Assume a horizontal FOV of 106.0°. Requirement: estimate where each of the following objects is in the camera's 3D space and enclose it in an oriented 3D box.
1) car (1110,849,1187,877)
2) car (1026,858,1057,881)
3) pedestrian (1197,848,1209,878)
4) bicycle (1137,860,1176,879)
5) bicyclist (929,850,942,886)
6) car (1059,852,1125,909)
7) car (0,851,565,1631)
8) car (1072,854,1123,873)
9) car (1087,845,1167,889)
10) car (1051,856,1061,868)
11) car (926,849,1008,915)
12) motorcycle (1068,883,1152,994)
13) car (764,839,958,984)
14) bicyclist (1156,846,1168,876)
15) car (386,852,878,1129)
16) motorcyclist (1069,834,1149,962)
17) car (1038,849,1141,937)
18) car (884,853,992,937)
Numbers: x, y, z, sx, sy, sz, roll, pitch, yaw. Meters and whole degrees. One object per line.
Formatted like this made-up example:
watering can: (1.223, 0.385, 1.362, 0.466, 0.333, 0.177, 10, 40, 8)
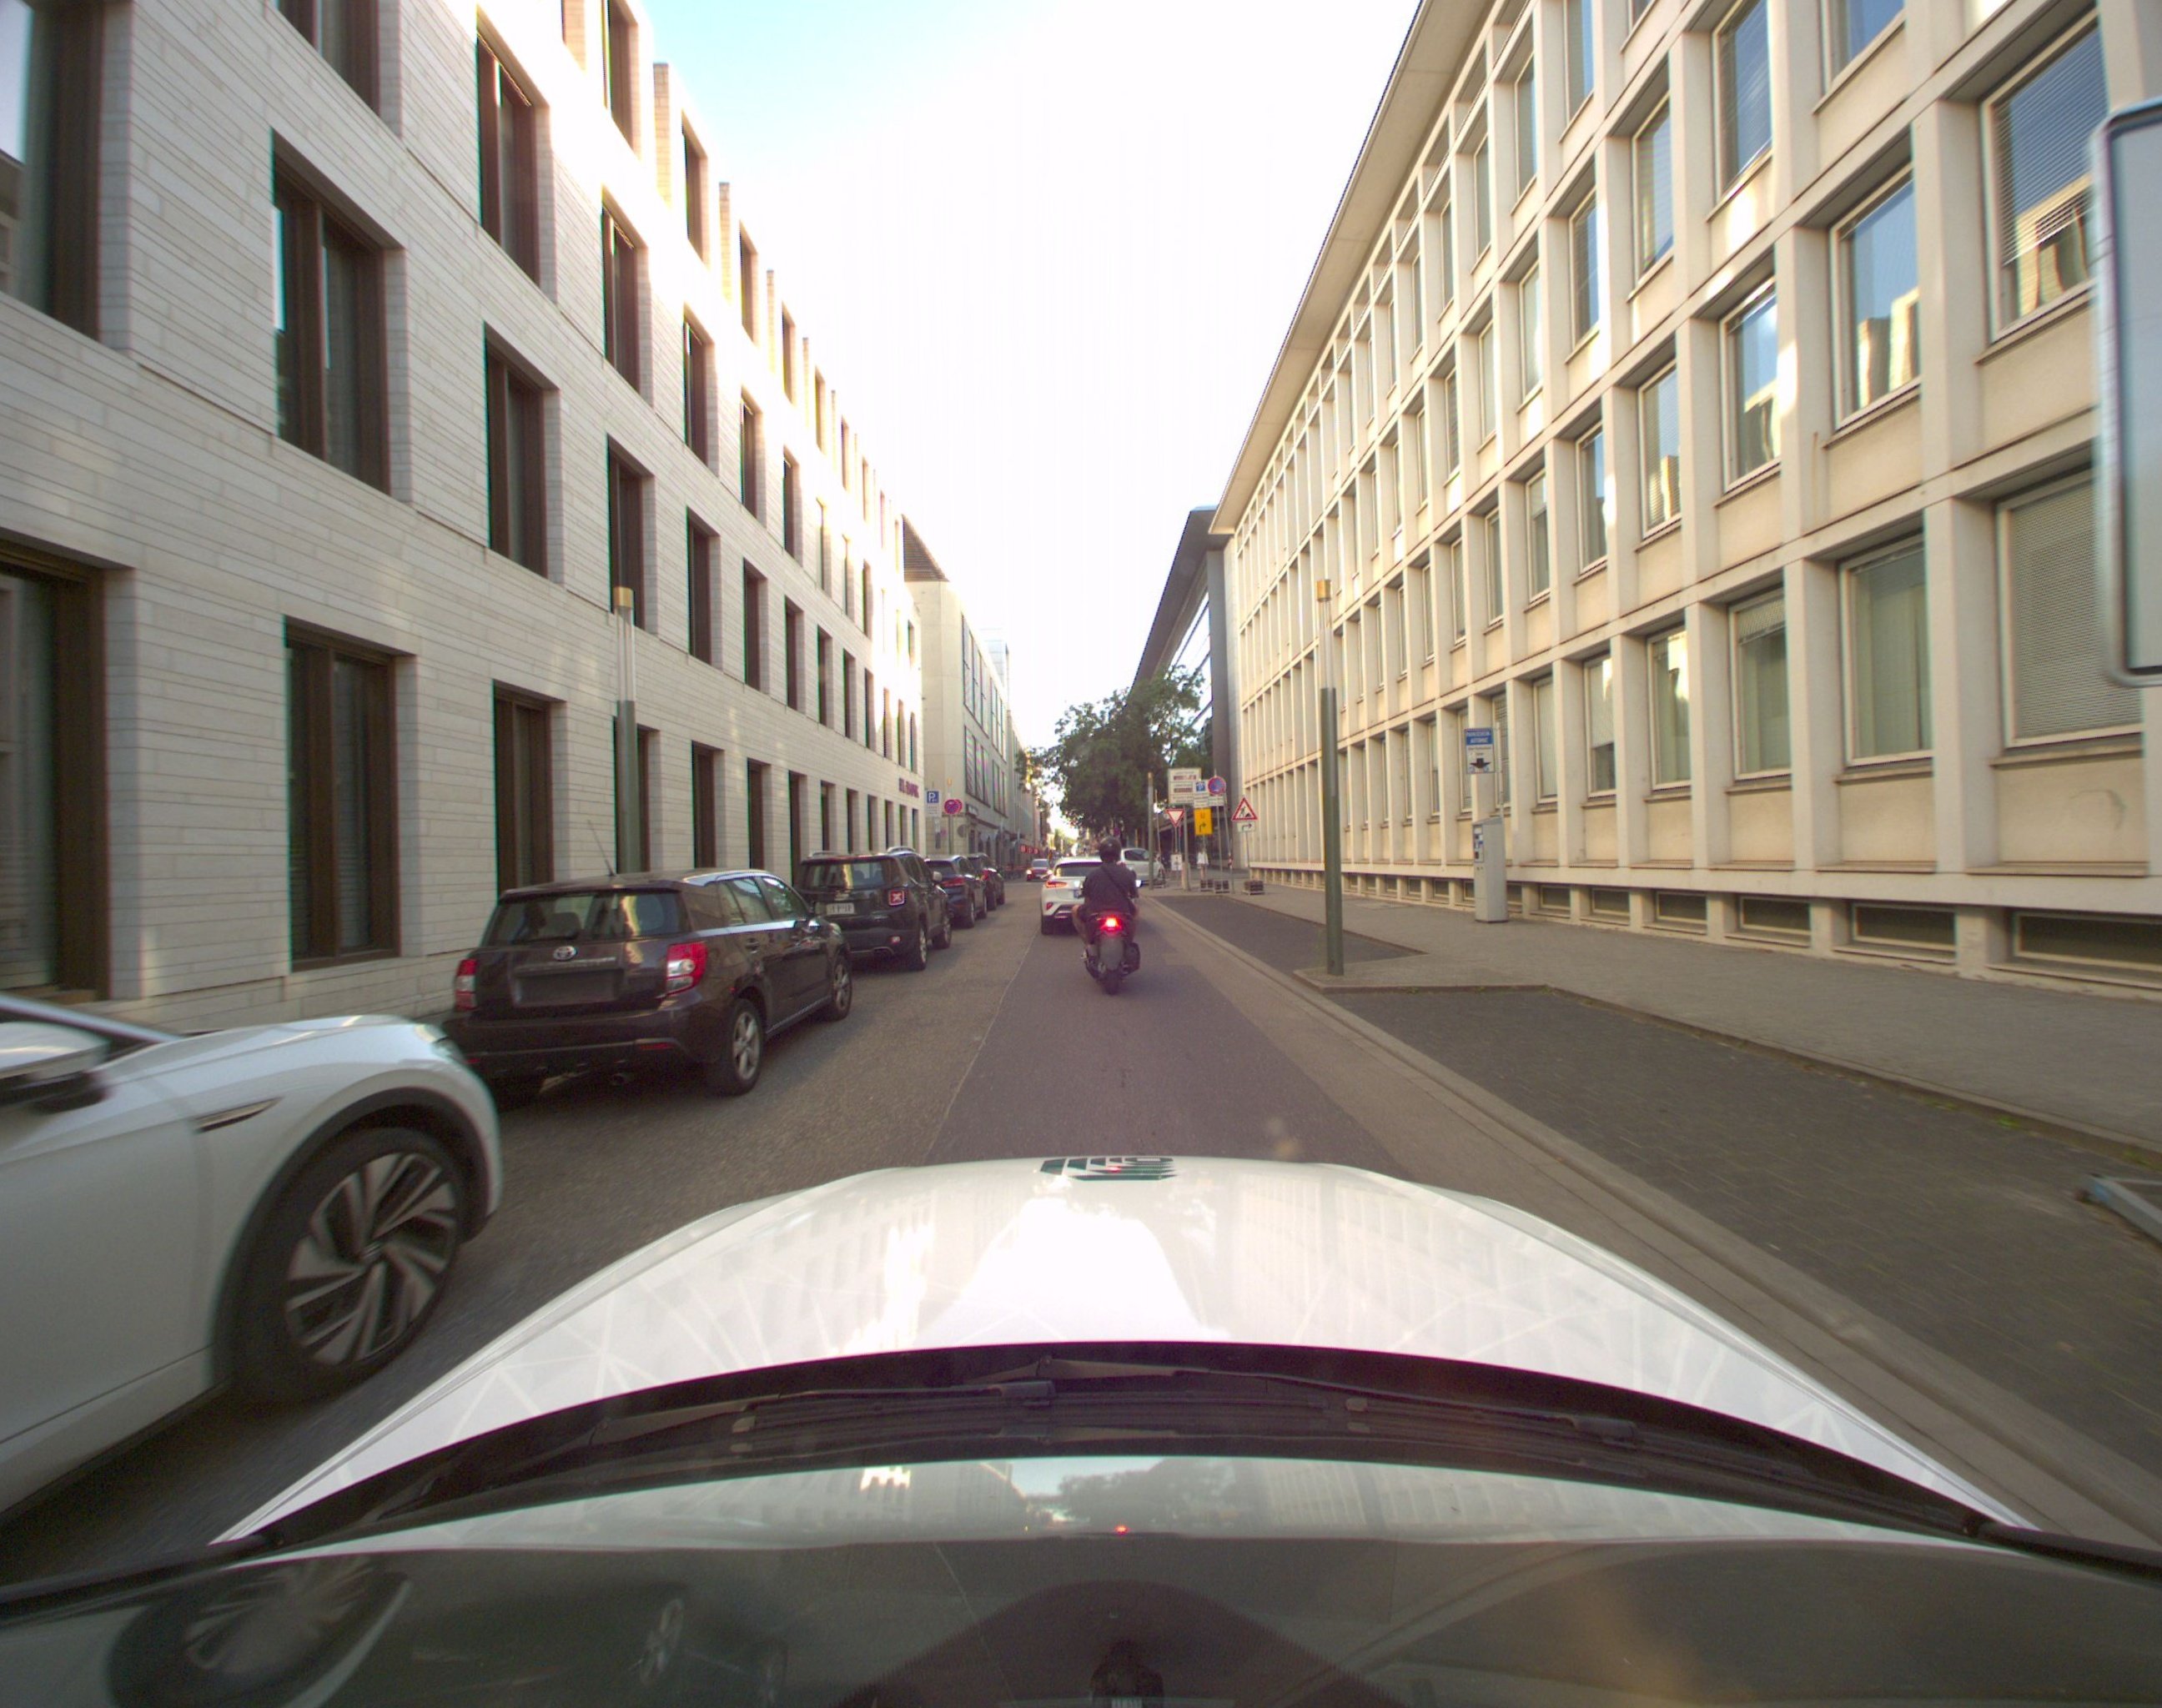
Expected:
car: (4.619, 0.620, 56.168, 4.994, 1.451, 1.998, -6, -1, -3)
car: (-2.700, 1.094, 56.506, 1.815, 1.465, 4.264, -2, -2, 2)
pedestrian: (6.388, 0.468, 42.668, 0.557, 1.584, 0.598, -1, -1, 1)
bicycle: (4.110, 0.831, 44.525, 2.094, 0.995, 0.519, -1, -1, 2)
bicyclist: (-6.944, 0.670, 38.901, 0.550, 1.732, 0.499, -1, -1, -12)
car: (0.287, 0.764, 25.895, 1.817, 1.541, 4.362, -4, 0, -1)
car: (-3.050, 0.771, 1.130, 1.816, 1.541, 4.446, 0, 0, 0)
car: (1.680, 0.967, 83.978, 4.994, 1.499, 1.998, -6, -1, -3)
car: (2.113, 0.528, 36.170, 1.805, 1.645, 4.521, -4, 0, 26)
car: (-5.197, 1.619, 169.484, 1.989, 2.329, 5.015, 0, 0, -3)
car: (-3.329, 0.766, 24.536, 1.817, 1.677, 4.261, -4, 0, -1)
motorcycle: (0.321, 0.927, 9.531, 0.869, 1.109, 1.839, -1, -1, 1)
car: (-3.091, 0.721, 12.341, 1.817, 1.714, 4.015, -4, 0, -1)
bicyclist: (4.417, 0.394, 44.519, 0.627, 1.625, 0.498, -1, -1, 2)
car: (-3.143, 0.787, 6.888, 1.817, 1.541, 4.261, -2, 0, -1)
motorcyclist: (0.317, 0.500, 9.398, 0.864, 1.427, 0.455, -1, -1, 0)
car: (0.119, 0.694, 16.862, 1.817, 1.541, 4.261, -2, 0, -1)
car: (-3.153, 0.828, 18.773, 1.735, 1.594, 4.151, -4, 0, -1)
